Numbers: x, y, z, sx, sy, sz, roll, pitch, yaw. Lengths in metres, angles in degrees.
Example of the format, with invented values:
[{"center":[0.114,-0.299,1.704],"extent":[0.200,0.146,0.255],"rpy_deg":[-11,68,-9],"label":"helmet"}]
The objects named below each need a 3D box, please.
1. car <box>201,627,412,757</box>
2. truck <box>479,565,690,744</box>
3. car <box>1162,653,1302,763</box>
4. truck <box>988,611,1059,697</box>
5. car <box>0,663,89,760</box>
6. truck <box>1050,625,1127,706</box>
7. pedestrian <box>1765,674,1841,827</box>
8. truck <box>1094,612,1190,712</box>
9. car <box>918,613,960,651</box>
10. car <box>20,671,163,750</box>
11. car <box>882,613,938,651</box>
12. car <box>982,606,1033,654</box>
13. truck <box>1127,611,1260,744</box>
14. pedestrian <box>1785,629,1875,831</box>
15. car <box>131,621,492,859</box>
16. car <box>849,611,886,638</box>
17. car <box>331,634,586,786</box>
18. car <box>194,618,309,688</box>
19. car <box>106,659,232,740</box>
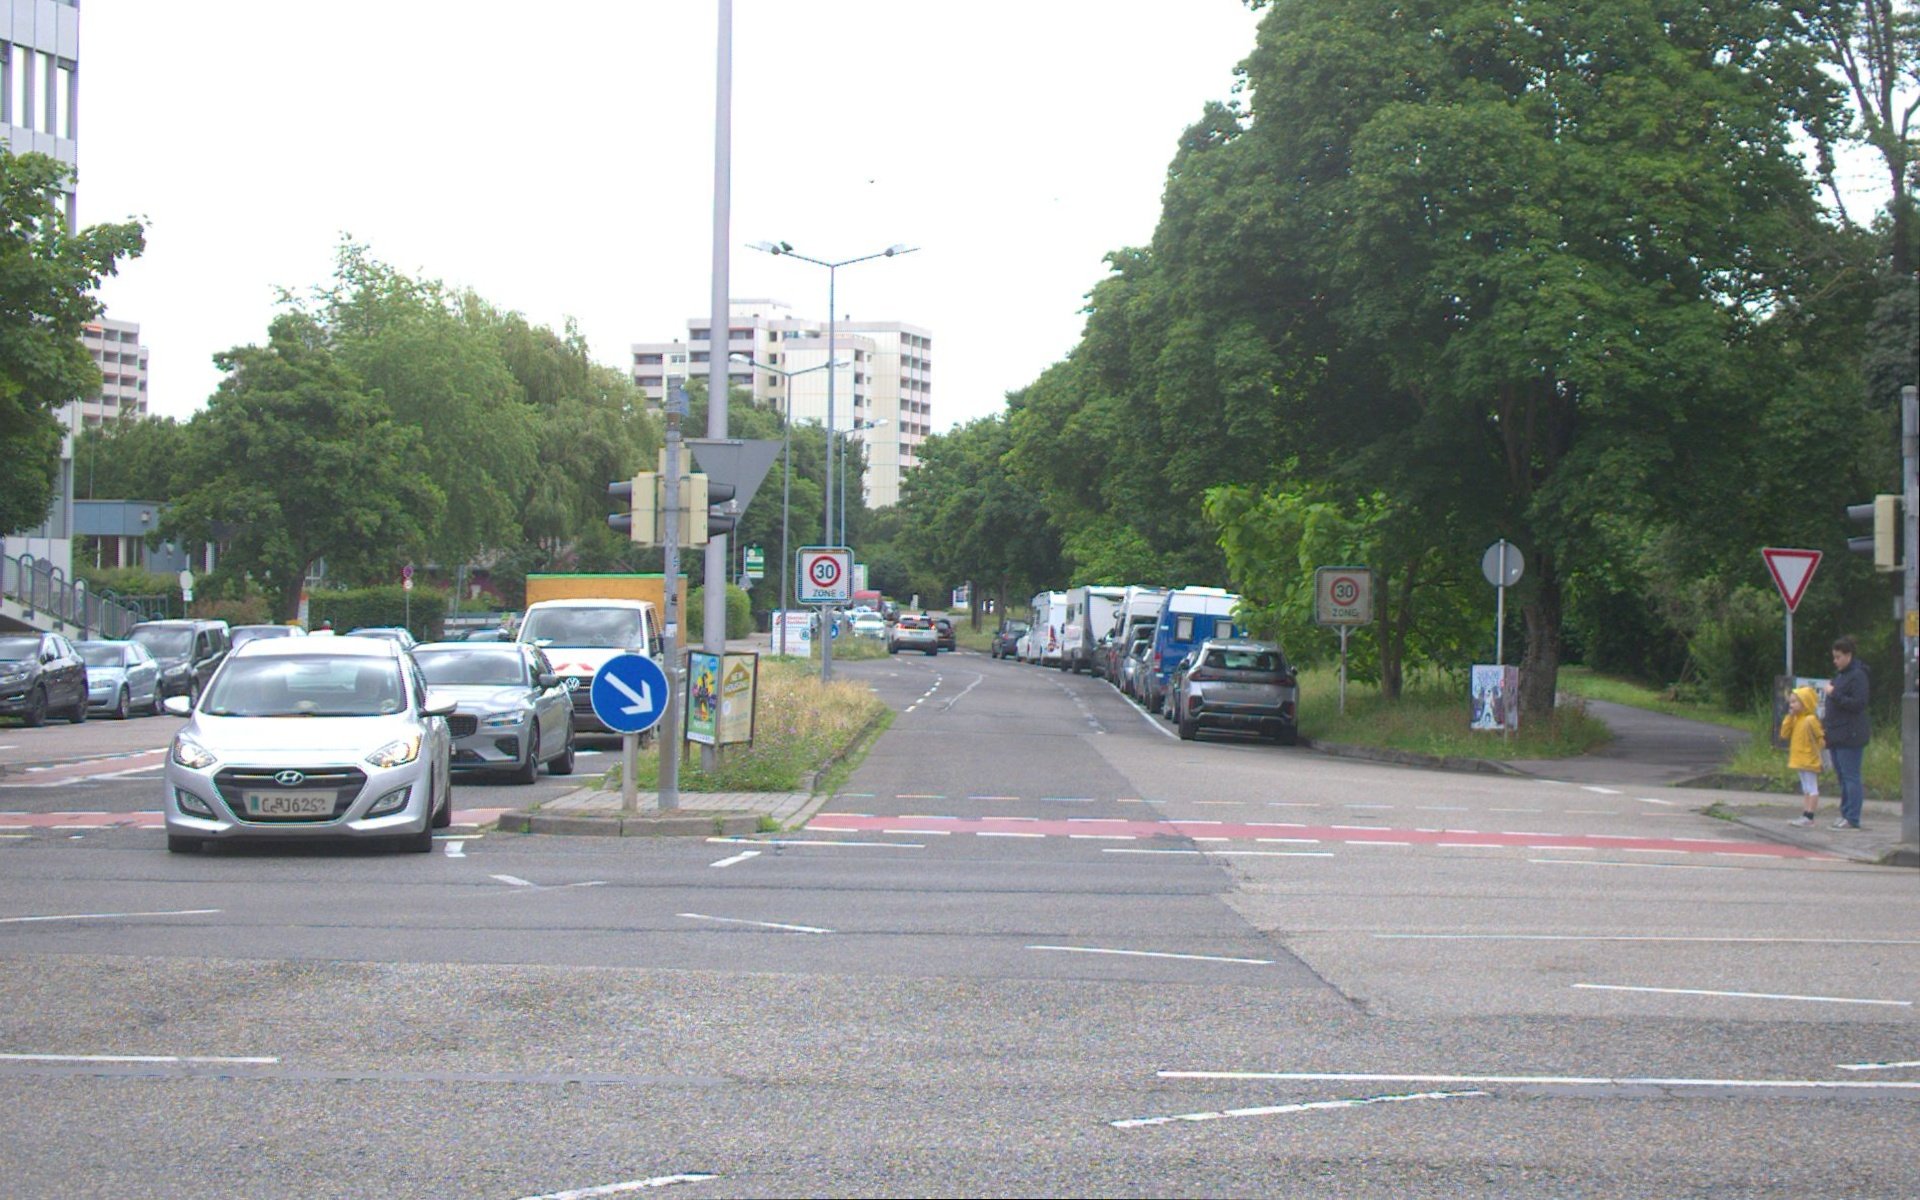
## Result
[{"center":[-7.829,1.089,41.567],"extent":[1.770,1.473,4.389],"rpy_deg":[1,-1,-1],"label":"car"},{"center":[-4.887,0.720,45.564],"extent":[2.155,2.192,5.840],"rpy_deg":[1,-1,0],"label":"truck"},{"center":[4.284,1.688,54.597],"extent":[1.784,1.656,4.000],"rpy_deg":[1,-1,-1],"label":"car"},{"center":[2.242,1.969,123.598],"extent":[1.993,2.999,5.772],"rpy_deg":[1,-2,-4],"label":"truck"},{"center":[-16.019,1.851,58.008],"extent":[1.671,1.547,3.892],"rpy_deg":[1,-1,-1],"label":"car"},{"center":[4.181,2.163,112.825],"extent":[1.993,2.564,5.378],"rpy_deg":[1,-2,-3],"label":"truck"},{"center":[7.508,1.335,30.630],"extent":[0.526,1.337,0.525],"rpy_deg":[1,-1,-1],"label":"pedestrian"},{"center":[5.298,1.833,100.773],"extent":[1.993,2.829,5.732],"rpy_deg":[1,-1,-5],"label":"truck"},{"center":[-0.952,1.425,154.178],"extent":[1.395,1.627,3.486],"rpy_deg":[1,-2,-8],"label":"car"},{"center":[-15.997,2.021,63.502],"extent":[1.671,1.382,3.895],"rpy_deg":[1,-1,-1],"label":"car"},{"center":[-2.061,1.321,140.811],"extent":[2.020,1.500,4.000],"rpy_deg":[1,-1,-5],"label":"car"},{"center":[1.915,1.195,139.599],"extent":[1.651,1.912,3.919],"rpy_deg":[1,0,-5],"label":"car"},{"center":[4.787,1.619,71.411],"extent":[2.174,2.647,6.246],"rpy_deg":[0,-2,-1],"label":"truck"},{"center":[7.602,1.134,30.048],"extent":[0.657,1.744,0.459],"rpy_deg":[1,-1,-1],"label":"pedestrian"},{"center":[-4.491,0.922,24.406],"extent":[1.789,1.514,4.325],"rpy_deg":[1,0,-1],"label":"car"},{"center":[-5.194,1.385,192.832],"extent":[2.020,1.500,4.000],"rpy_deg":[1,-1,-1],"label":"car"},{"center":[-5.074,1.081,35.380],"extent":[1.897,1.415,4.736],"rpy_deg":[1,0,0],"label":"car"},{"center":[-15.672,1.159,76.206],"extent":[1.675,1.483,4.000],"rpy_deg":[1,0,1],"label":"car"},{"center":[-15.810,1.969,68.835],"extent":[1.671,1.547,3.762],"rpy_deg":[1,-1,-1],"label":"car"}]
